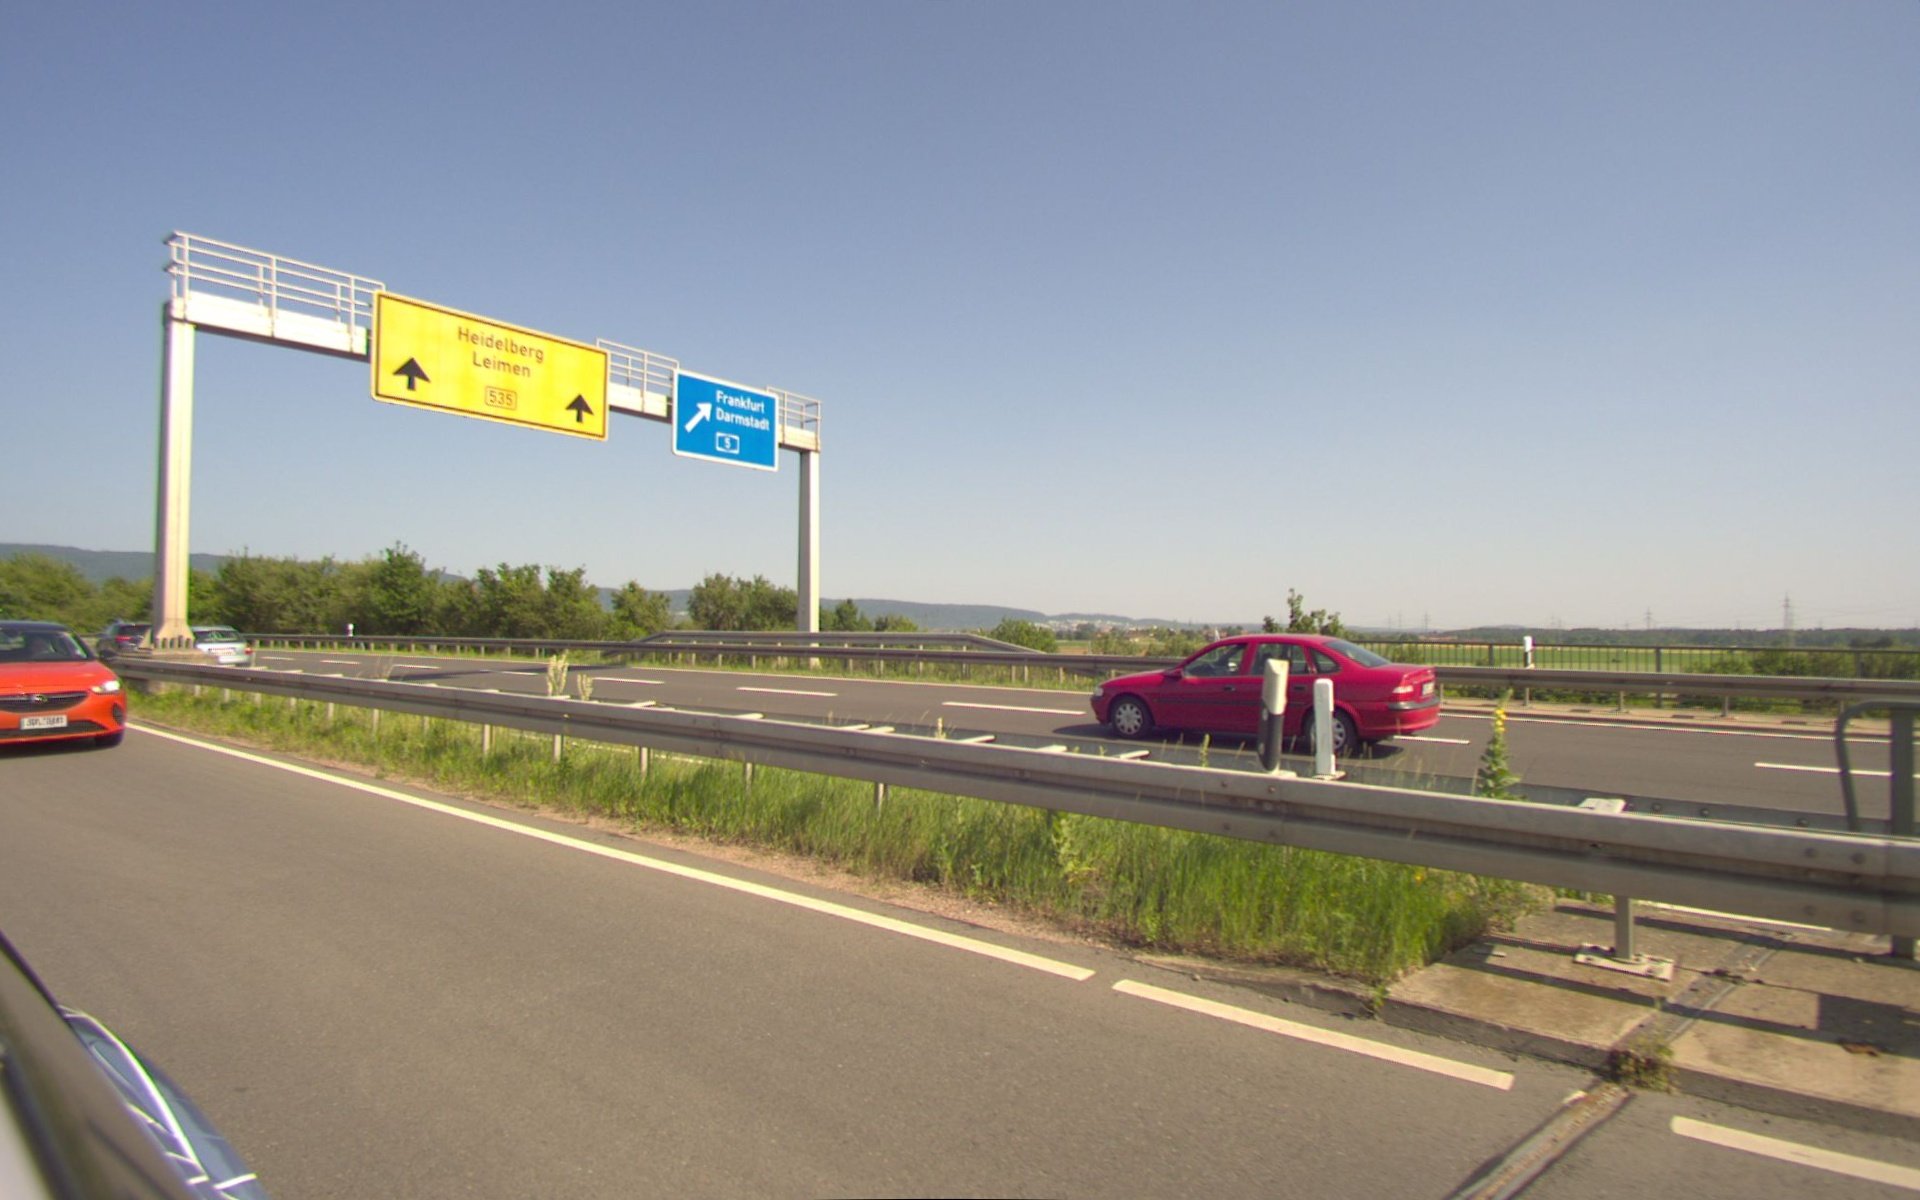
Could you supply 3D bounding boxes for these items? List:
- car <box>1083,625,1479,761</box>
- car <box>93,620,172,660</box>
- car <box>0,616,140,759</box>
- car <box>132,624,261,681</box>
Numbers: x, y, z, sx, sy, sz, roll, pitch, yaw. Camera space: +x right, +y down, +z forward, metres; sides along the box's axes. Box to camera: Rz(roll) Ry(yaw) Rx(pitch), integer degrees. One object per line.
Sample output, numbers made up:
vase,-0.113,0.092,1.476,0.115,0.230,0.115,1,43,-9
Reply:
car,3.999,1.056,13.027,4.525,1.439,1.807,-1,-1,38
car,-33.530,1.591,40.963,3.997,1.485,1.777,-1,-1,40
car,-11.299,0.927,11.855,4.406,1.448,1.692,-1,-2,38
car,-21.609,1.427,28.592,4.496,1.449,1.856,-1,0,38
